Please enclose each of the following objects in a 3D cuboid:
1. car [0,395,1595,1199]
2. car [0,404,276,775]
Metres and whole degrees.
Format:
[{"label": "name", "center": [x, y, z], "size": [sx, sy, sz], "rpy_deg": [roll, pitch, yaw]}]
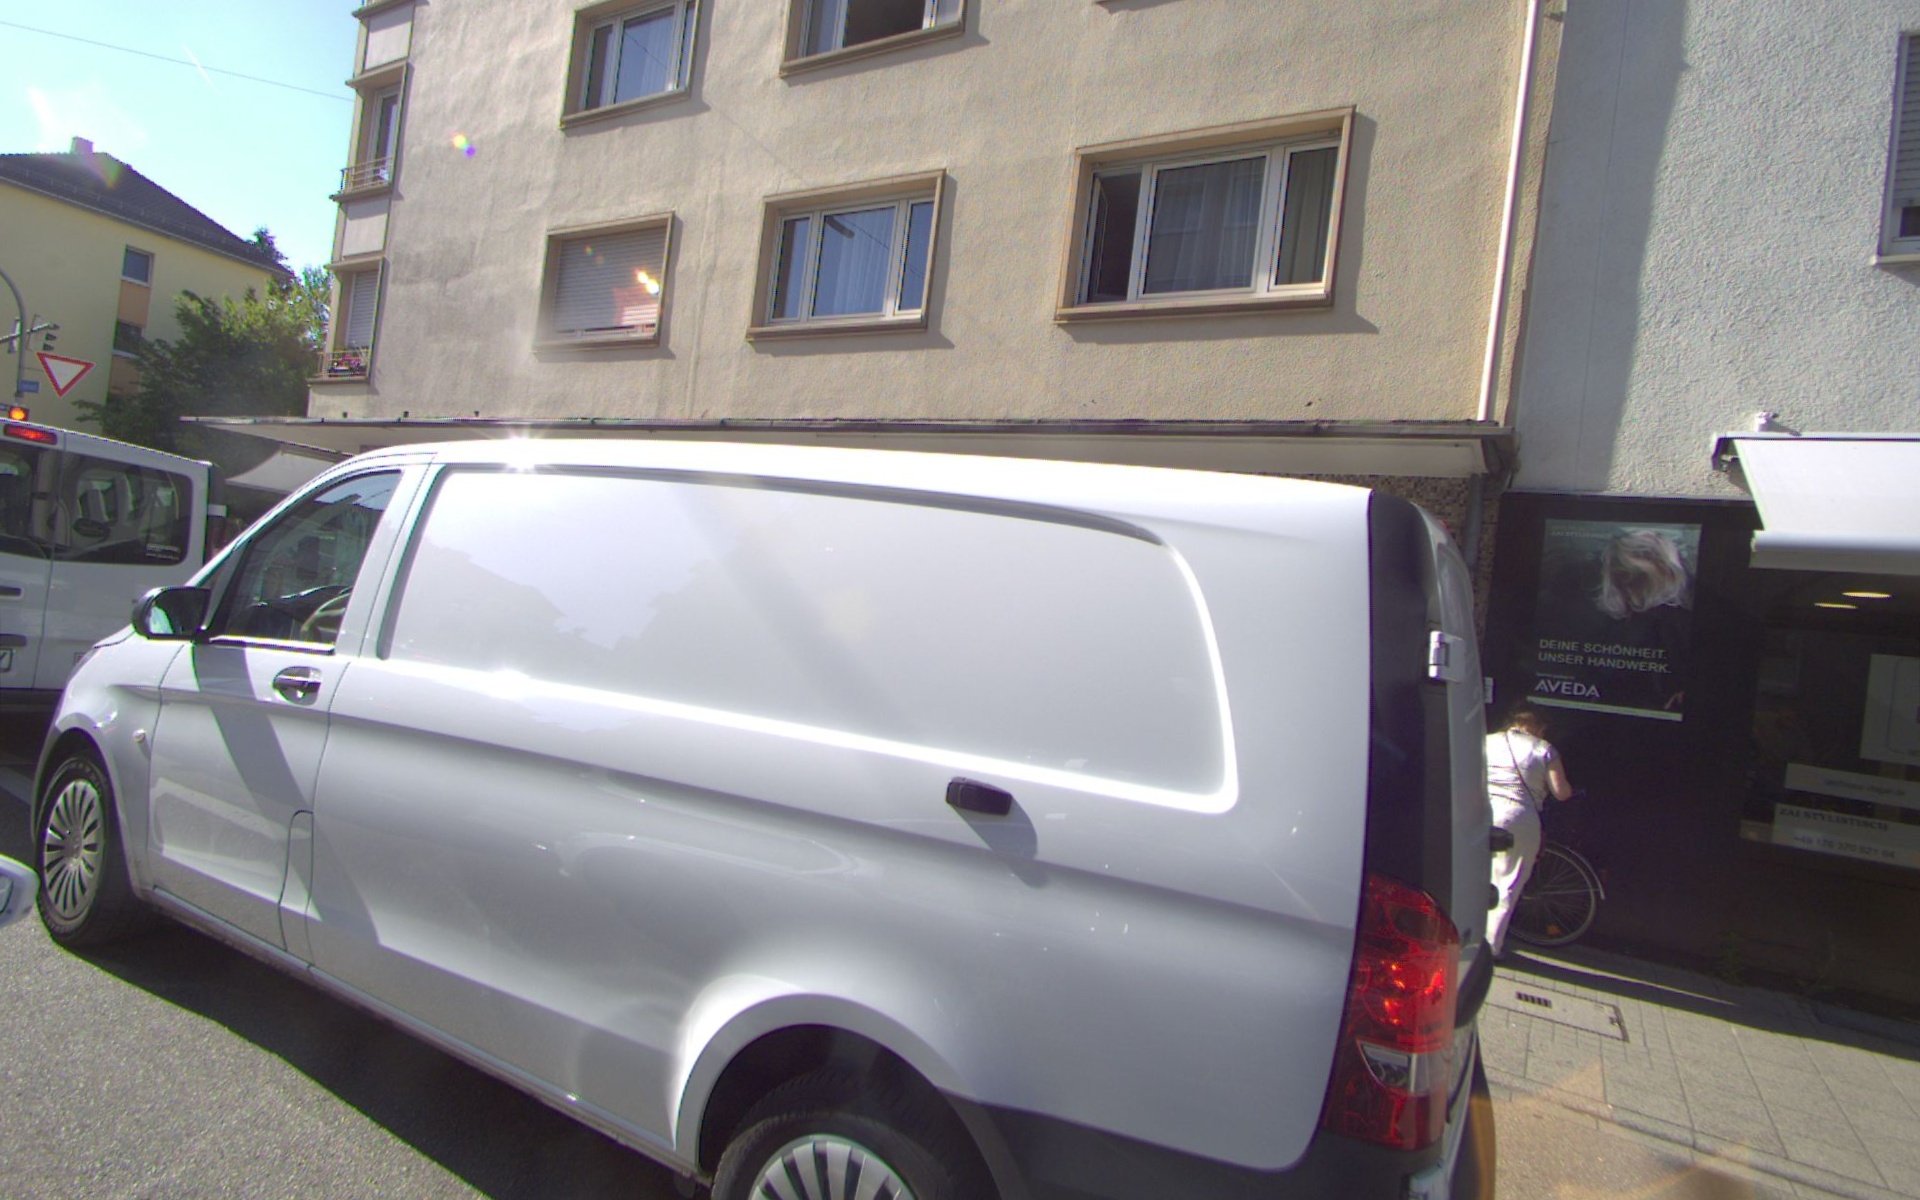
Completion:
[{"label": "car", "center": [-0.987, 0.514, 3.309], "size": [4.911, 1.891, 1.840], "rpy_deg": [7, -1, 29]}, {"label": "car", "center": [-7.106, -0.256, 6.934], "size": [4.814, 2.002, 1.998], "rpy_deg": [7, -2, 32]}]
